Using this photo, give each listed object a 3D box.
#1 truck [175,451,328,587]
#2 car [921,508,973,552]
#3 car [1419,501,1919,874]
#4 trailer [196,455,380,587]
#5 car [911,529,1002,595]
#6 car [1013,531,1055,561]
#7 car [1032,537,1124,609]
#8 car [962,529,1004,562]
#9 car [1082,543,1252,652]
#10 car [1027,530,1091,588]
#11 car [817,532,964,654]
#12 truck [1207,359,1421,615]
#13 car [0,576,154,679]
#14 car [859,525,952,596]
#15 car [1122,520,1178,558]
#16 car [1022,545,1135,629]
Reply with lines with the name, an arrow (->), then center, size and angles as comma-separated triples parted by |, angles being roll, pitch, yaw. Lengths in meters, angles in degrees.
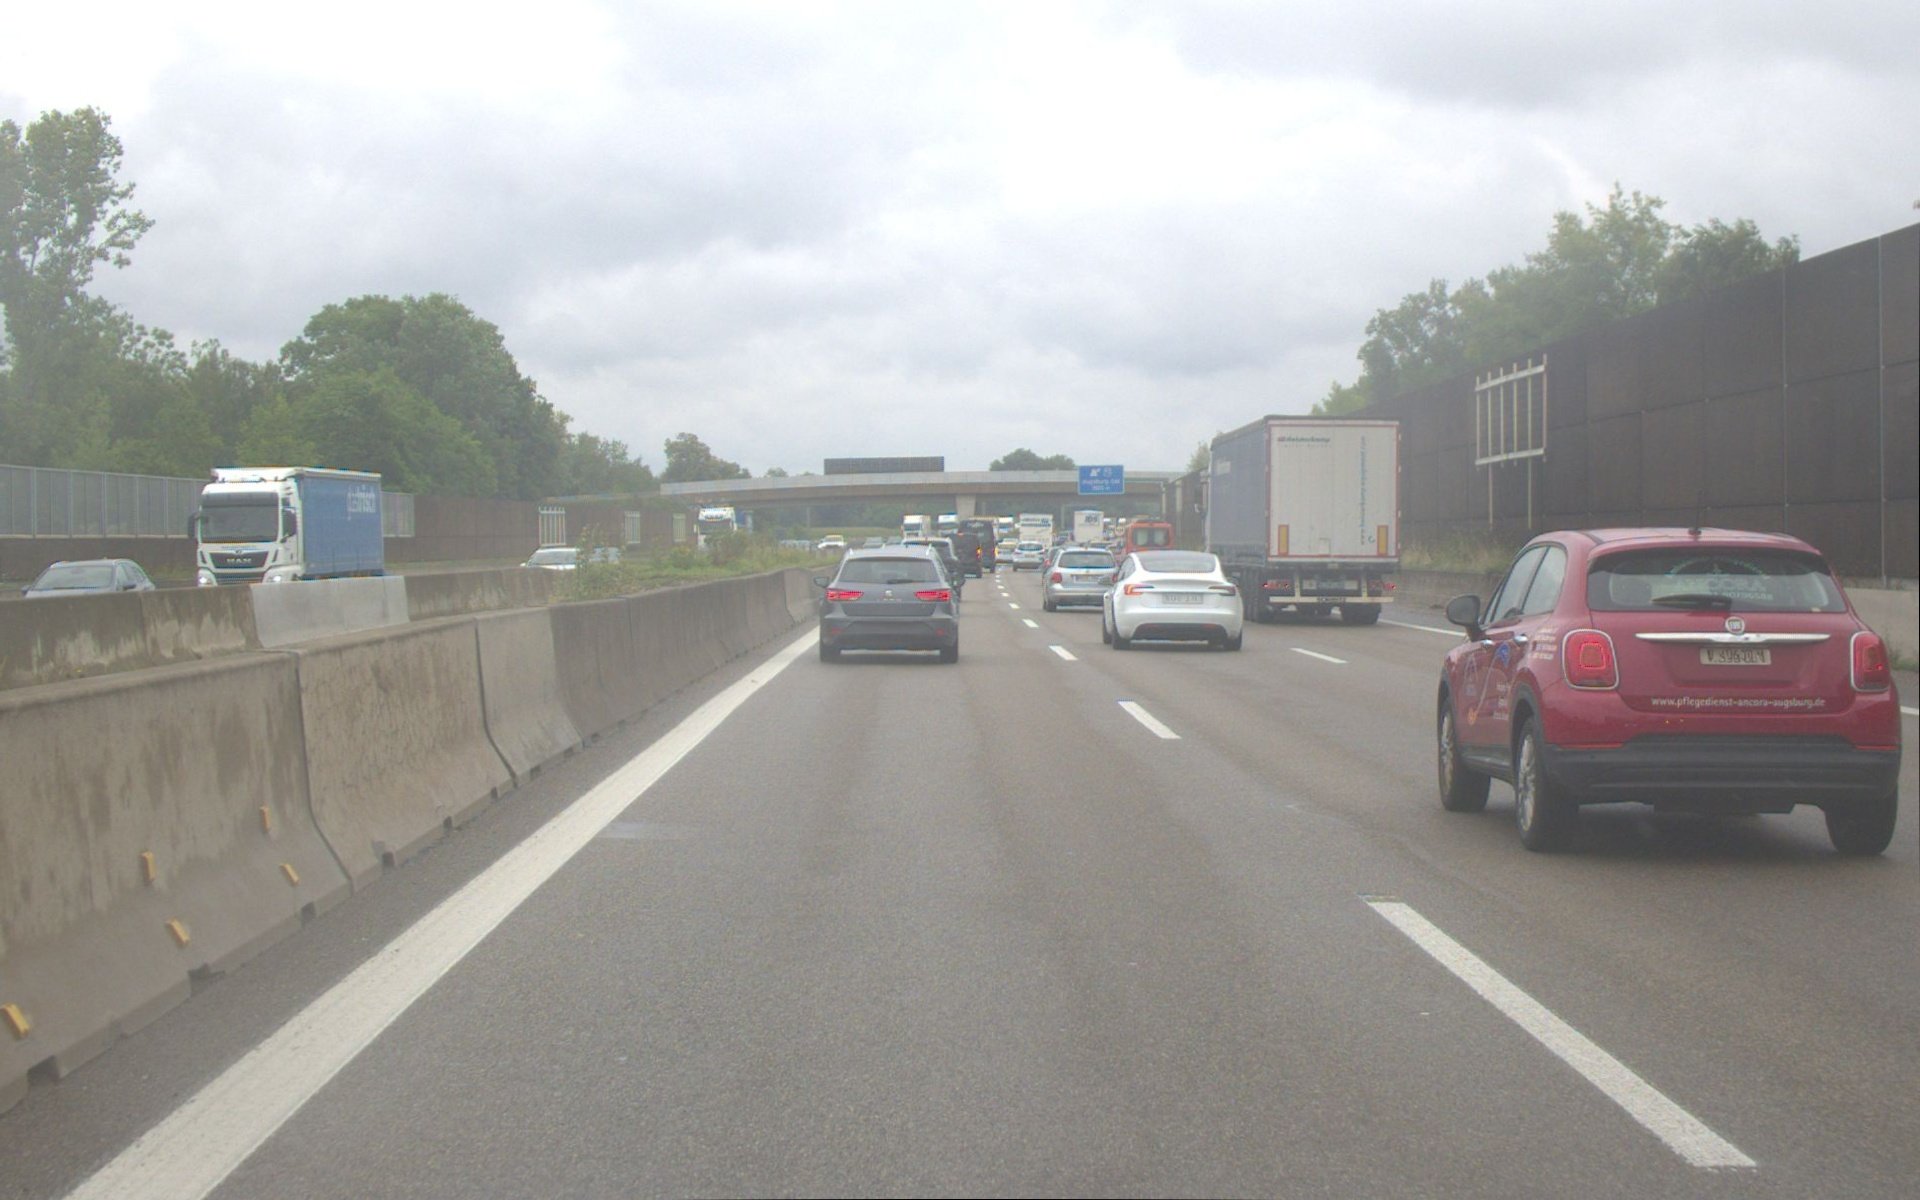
truck -> -20.227, -2.292, 98.531 | 2.993, 3.679, 6.882 | 1, 1, -1
car -> -0.574, -2.943, 144.422 | 1.993, 1.809, 4.001 | 1, 1, -2
car -> 3.602, 0.345, 17.751 | 1.957, 1.641, 4.001 | 0, 3, 0
trailer -> -20.361, -2.367, 105.127 | 2.993, 3.679, 14.059 | 1, 1, -1
car -> -0.114, -0.958, 85.115 | 1.993, 1.579, 4.001 | 0, 1, -4
car -> 3.871, -2.836, 180.848 | 1.993, 1.514, 4.000 | 1, 1, -1
car -> 2.618, -0.626, 77.228 | 1.702, 1.538, 3.839 | 1, 1, -3
car -> 1.135, -2.707, 170.644 | 1.993, 1.618, 4.000 | 1, 1, 0
car -> 2.962, -0.069, 49.974 | 1.993, 1.481, 4.001 | 1, 1, -3
car -> 3.540, -1.497, 123.835 | 1.993, 2.007, 4.001 | 1, 1, -2
car -> -0.912, -0.120, 43.586 | 1.763, 1.448, 4.001 | 1, 1, -2
truck -> 6.905, -2.184, 68.256 | 3.044, 4.718, 7.681 | 1, 1, -2
car -> -15.878, 0.524, 60.952 | 2.218, 1.620, 4.639 | 1, -3, -2
car -> -1.145, -0.840, 71.004 | 1.781, 1.401, 3.627 | 1, 1, -3
car -> 7.732, -2.477, 140.294 | 1.993, 1.514, 4.000 | 1, 1, -1
car -> 2.240, -0.282, 65.841 | 1.993, 1.514, 4.000 | 1, 1, 0
